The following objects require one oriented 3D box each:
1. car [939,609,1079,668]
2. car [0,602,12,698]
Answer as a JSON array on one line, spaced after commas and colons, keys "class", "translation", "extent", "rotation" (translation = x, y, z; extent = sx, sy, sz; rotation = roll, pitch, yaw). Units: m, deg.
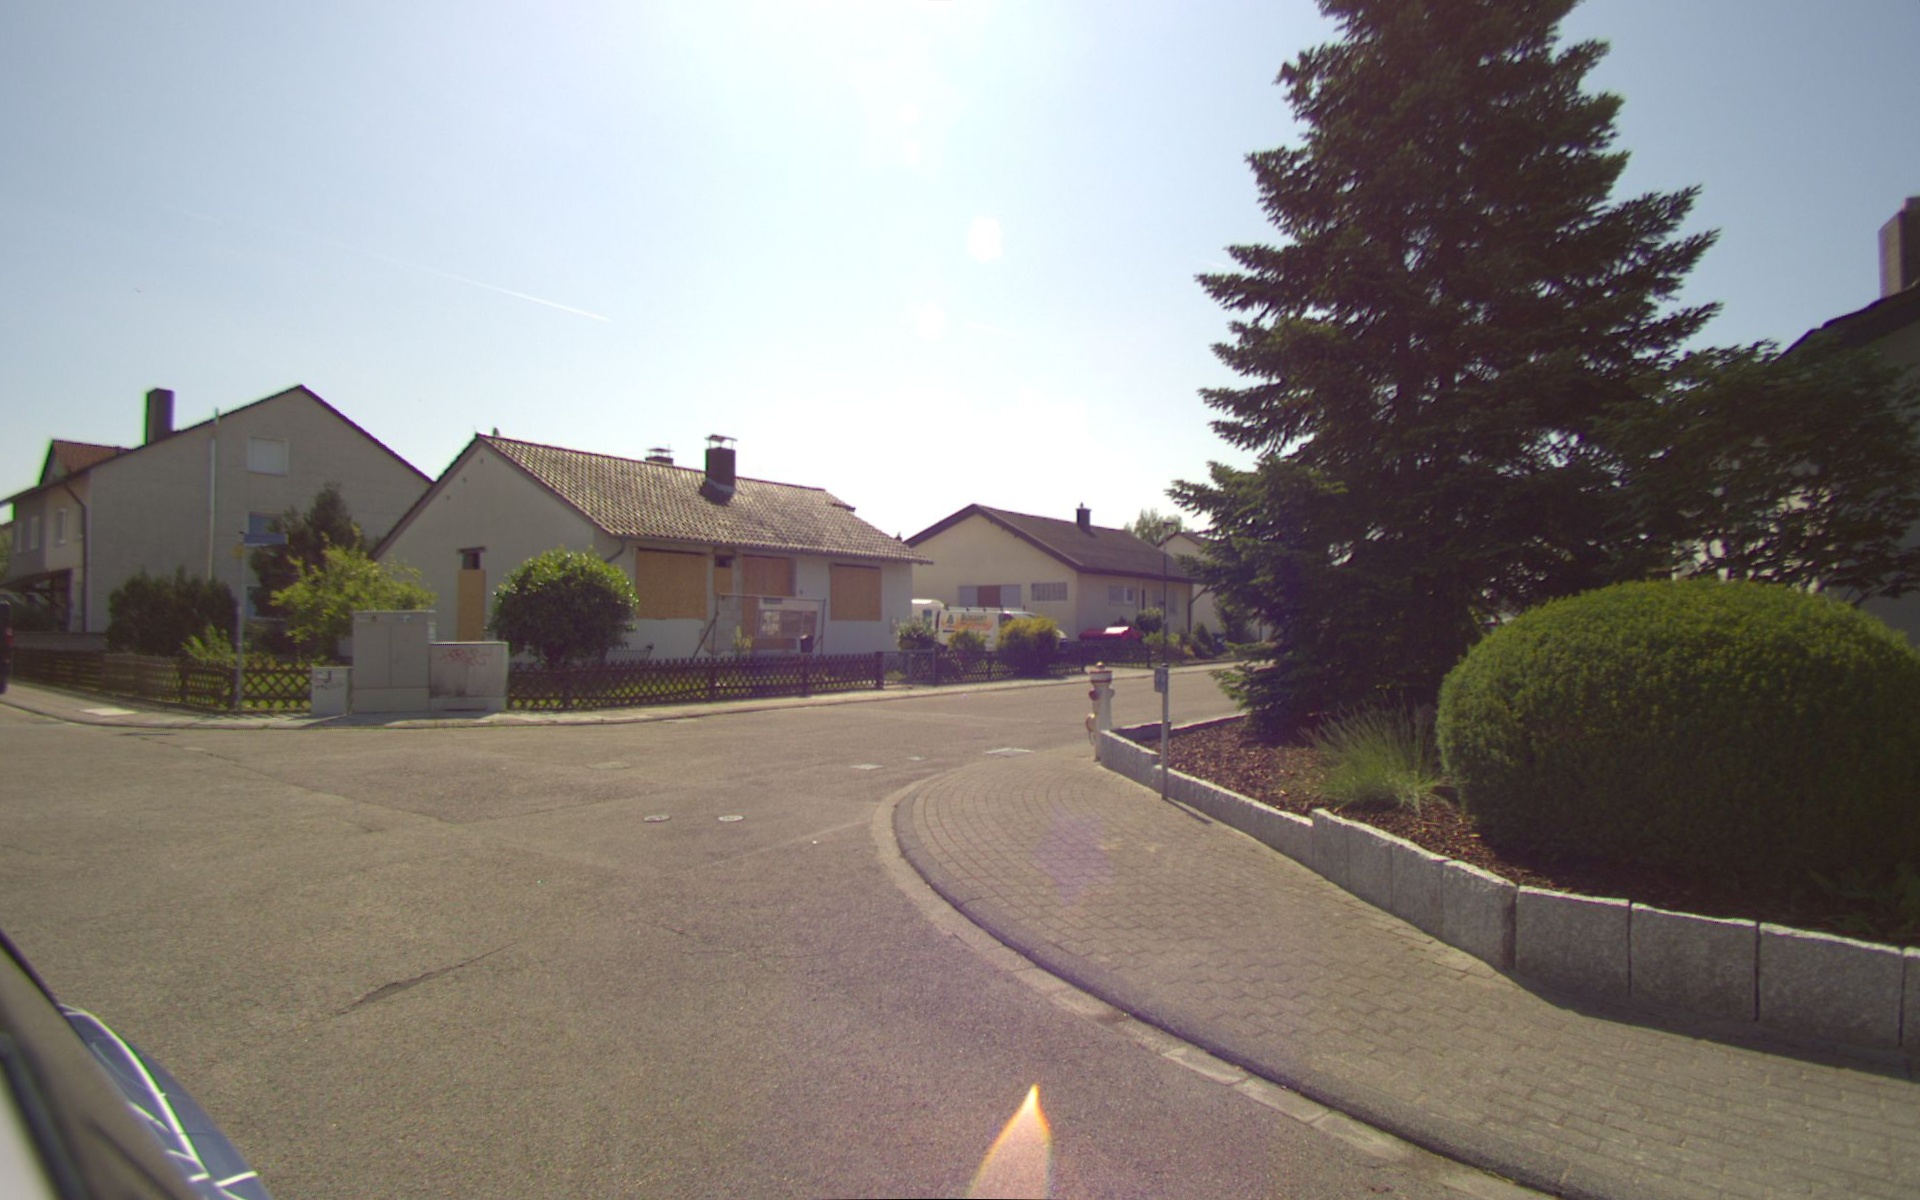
[{"class": "car", "translation": [1.742, 1.387, 37.257], "extent": [5.005, 2.029, 1.844], "rotation": [-1, -2, 38]}, {"class": "car", "translation": [-21.633, 1.036, 21.243], "extent": [4.197, 1.953, 1.848], "rotation": [-1, -2, 37]}]
